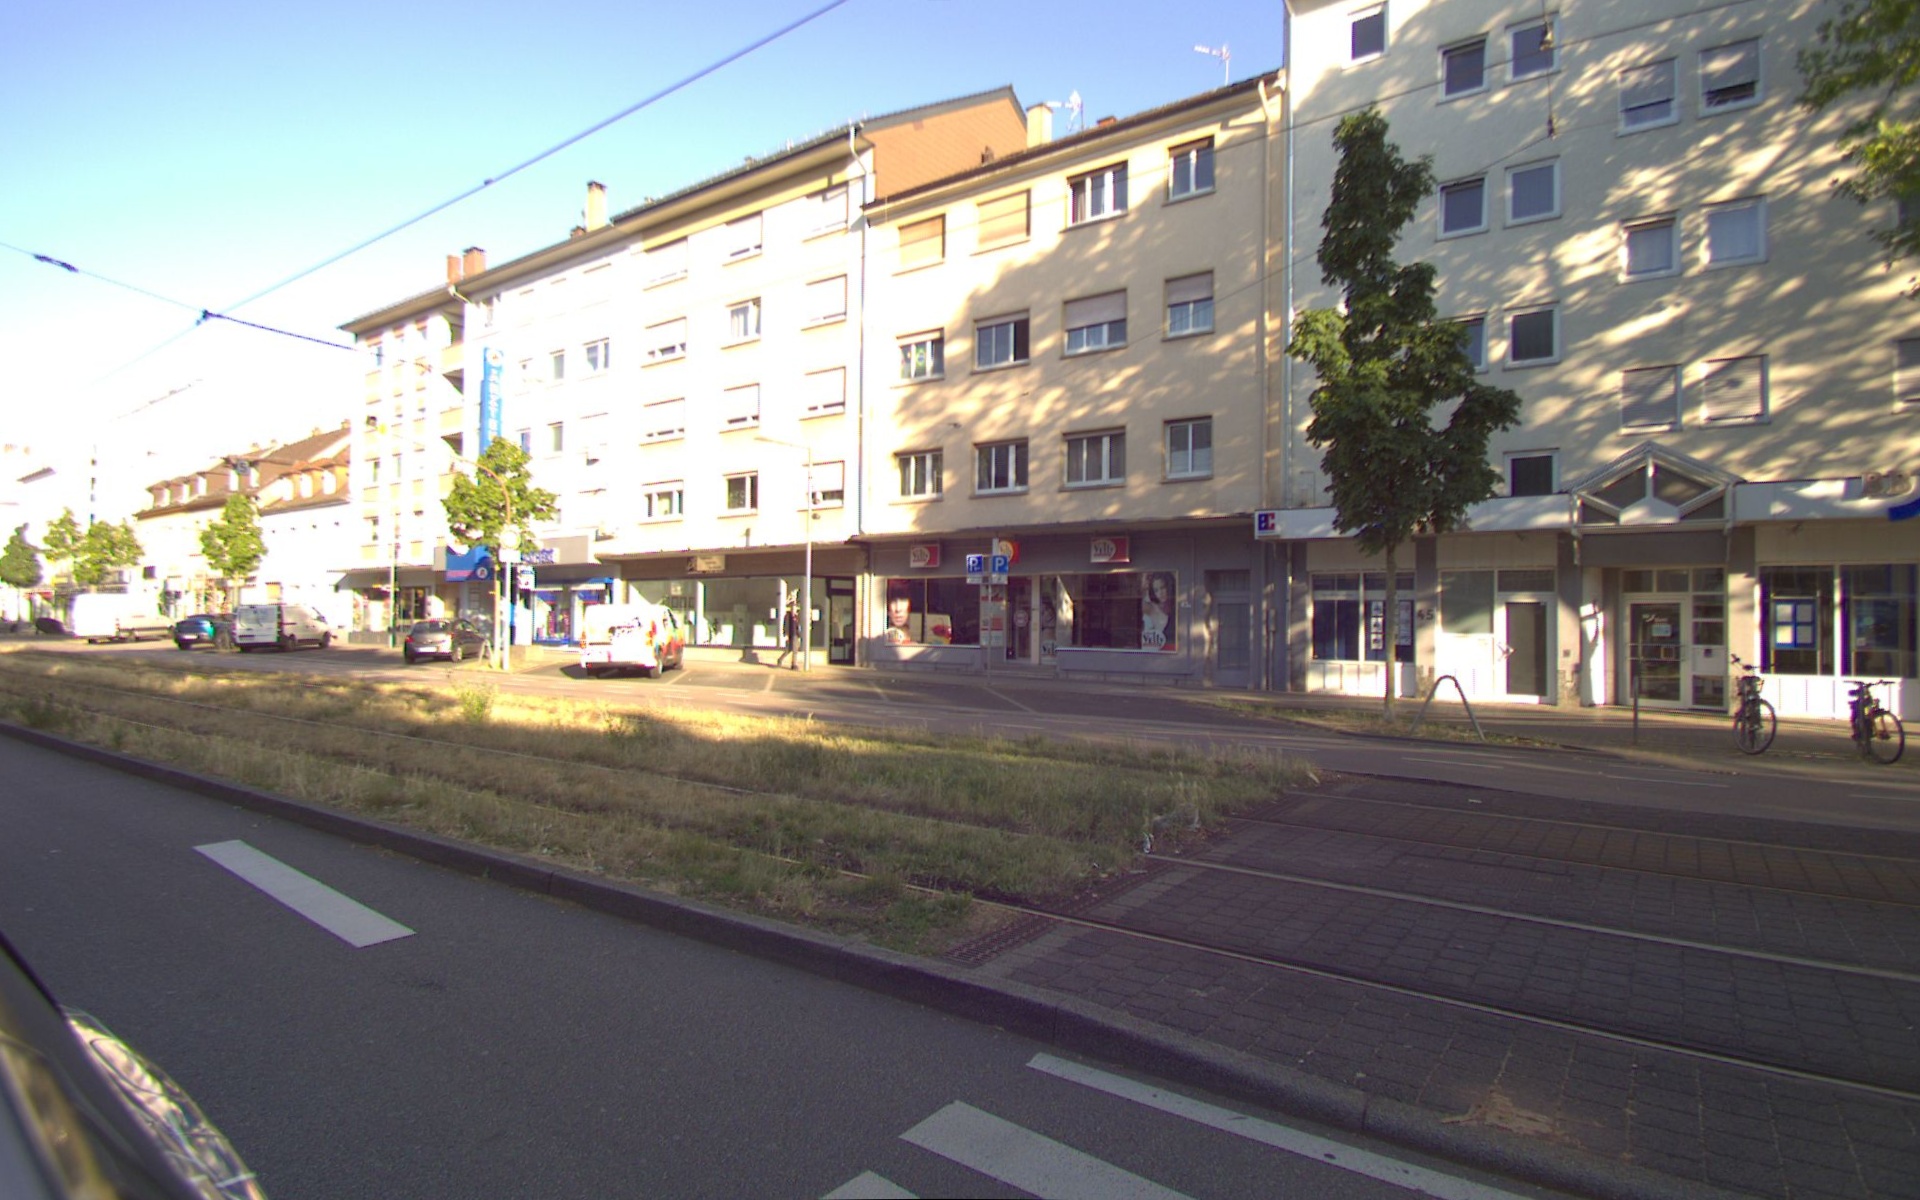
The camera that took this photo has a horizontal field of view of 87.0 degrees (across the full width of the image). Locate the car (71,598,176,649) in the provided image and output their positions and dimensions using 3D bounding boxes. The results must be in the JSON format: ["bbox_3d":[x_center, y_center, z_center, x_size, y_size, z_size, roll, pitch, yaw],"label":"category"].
[{"bbox_3d":[-45.366,1.214,55.099,1.895,2.634,6.608,0,0,-16],"label":"car"}]

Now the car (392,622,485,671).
[{"bbox_3d":[-17.586,1.518,34.341,1.708,1.508,4.009,0,0,-10],"label":"car"}]

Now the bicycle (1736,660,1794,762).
[{"bbox_3d":[10.298,1.380,12.979,0.511,1.147,1.724,-1,-1,36],"label":"bicycle"}]

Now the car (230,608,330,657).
[{"bbox_3d":[-28.608,1.302,42.755,1.828,1.952,4.514,0,0,-10],"label":"car"}]

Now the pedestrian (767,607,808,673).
[{"bbox_3d":[-4.934,1.127,28.881,0.916,1.841,0.747,-1,-1,41],"label":"pedestrian"}]

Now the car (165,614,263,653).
[{"bbox_3d":[-34.283,1.506,46.650,1.830,1.727,3.919,0,0,-4],"label":"car"}]

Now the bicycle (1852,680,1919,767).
[{"bbox_3d":[11.388,1.483,12.433,0.471,0.895,1.724,-1,-1,36],"label":"bicycle"}]

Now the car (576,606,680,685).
[{"bbox_3d":[-8.783,1.146,27.121,1.830,1.913,4.005,0,0,-6],"label":"car"}]
